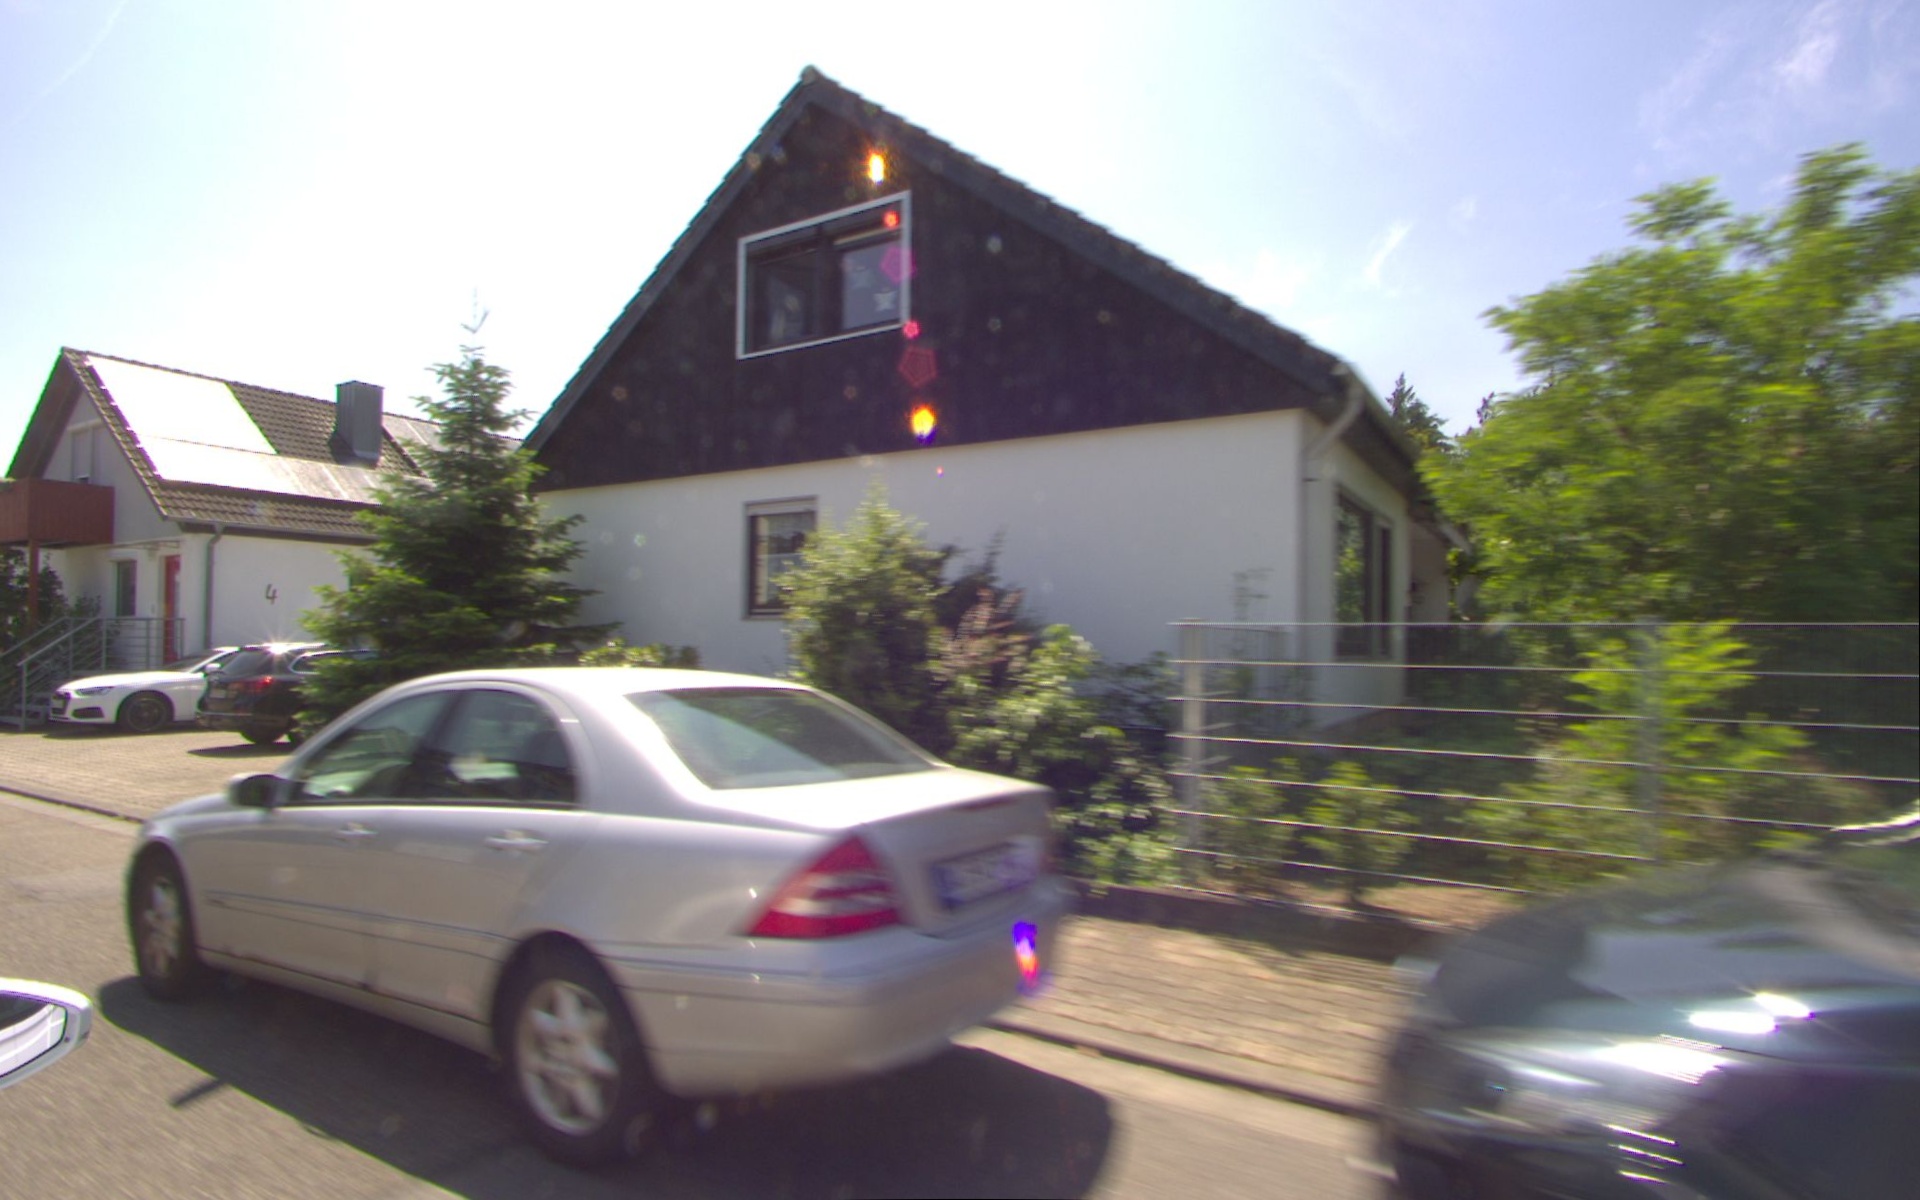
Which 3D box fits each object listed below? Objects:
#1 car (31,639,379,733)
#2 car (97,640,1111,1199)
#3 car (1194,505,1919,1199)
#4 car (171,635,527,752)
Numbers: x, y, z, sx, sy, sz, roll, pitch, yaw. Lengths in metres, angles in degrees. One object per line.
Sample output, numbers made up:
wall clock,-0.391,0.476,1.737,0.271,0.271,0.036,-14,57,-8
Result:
car,-13.133,1.464,17.731,1.925,1.413,4.530,-1,-4,34
car,-1.690,0.932,4.140,4.276,1.478,1.684,-1,-3,33
car,2.876,0.753,1.359,4.616,1.682,1.960,-1,-3,33
car,-9.188,1.354,15.443,1.971,1.504,4.236,0,-3,31
